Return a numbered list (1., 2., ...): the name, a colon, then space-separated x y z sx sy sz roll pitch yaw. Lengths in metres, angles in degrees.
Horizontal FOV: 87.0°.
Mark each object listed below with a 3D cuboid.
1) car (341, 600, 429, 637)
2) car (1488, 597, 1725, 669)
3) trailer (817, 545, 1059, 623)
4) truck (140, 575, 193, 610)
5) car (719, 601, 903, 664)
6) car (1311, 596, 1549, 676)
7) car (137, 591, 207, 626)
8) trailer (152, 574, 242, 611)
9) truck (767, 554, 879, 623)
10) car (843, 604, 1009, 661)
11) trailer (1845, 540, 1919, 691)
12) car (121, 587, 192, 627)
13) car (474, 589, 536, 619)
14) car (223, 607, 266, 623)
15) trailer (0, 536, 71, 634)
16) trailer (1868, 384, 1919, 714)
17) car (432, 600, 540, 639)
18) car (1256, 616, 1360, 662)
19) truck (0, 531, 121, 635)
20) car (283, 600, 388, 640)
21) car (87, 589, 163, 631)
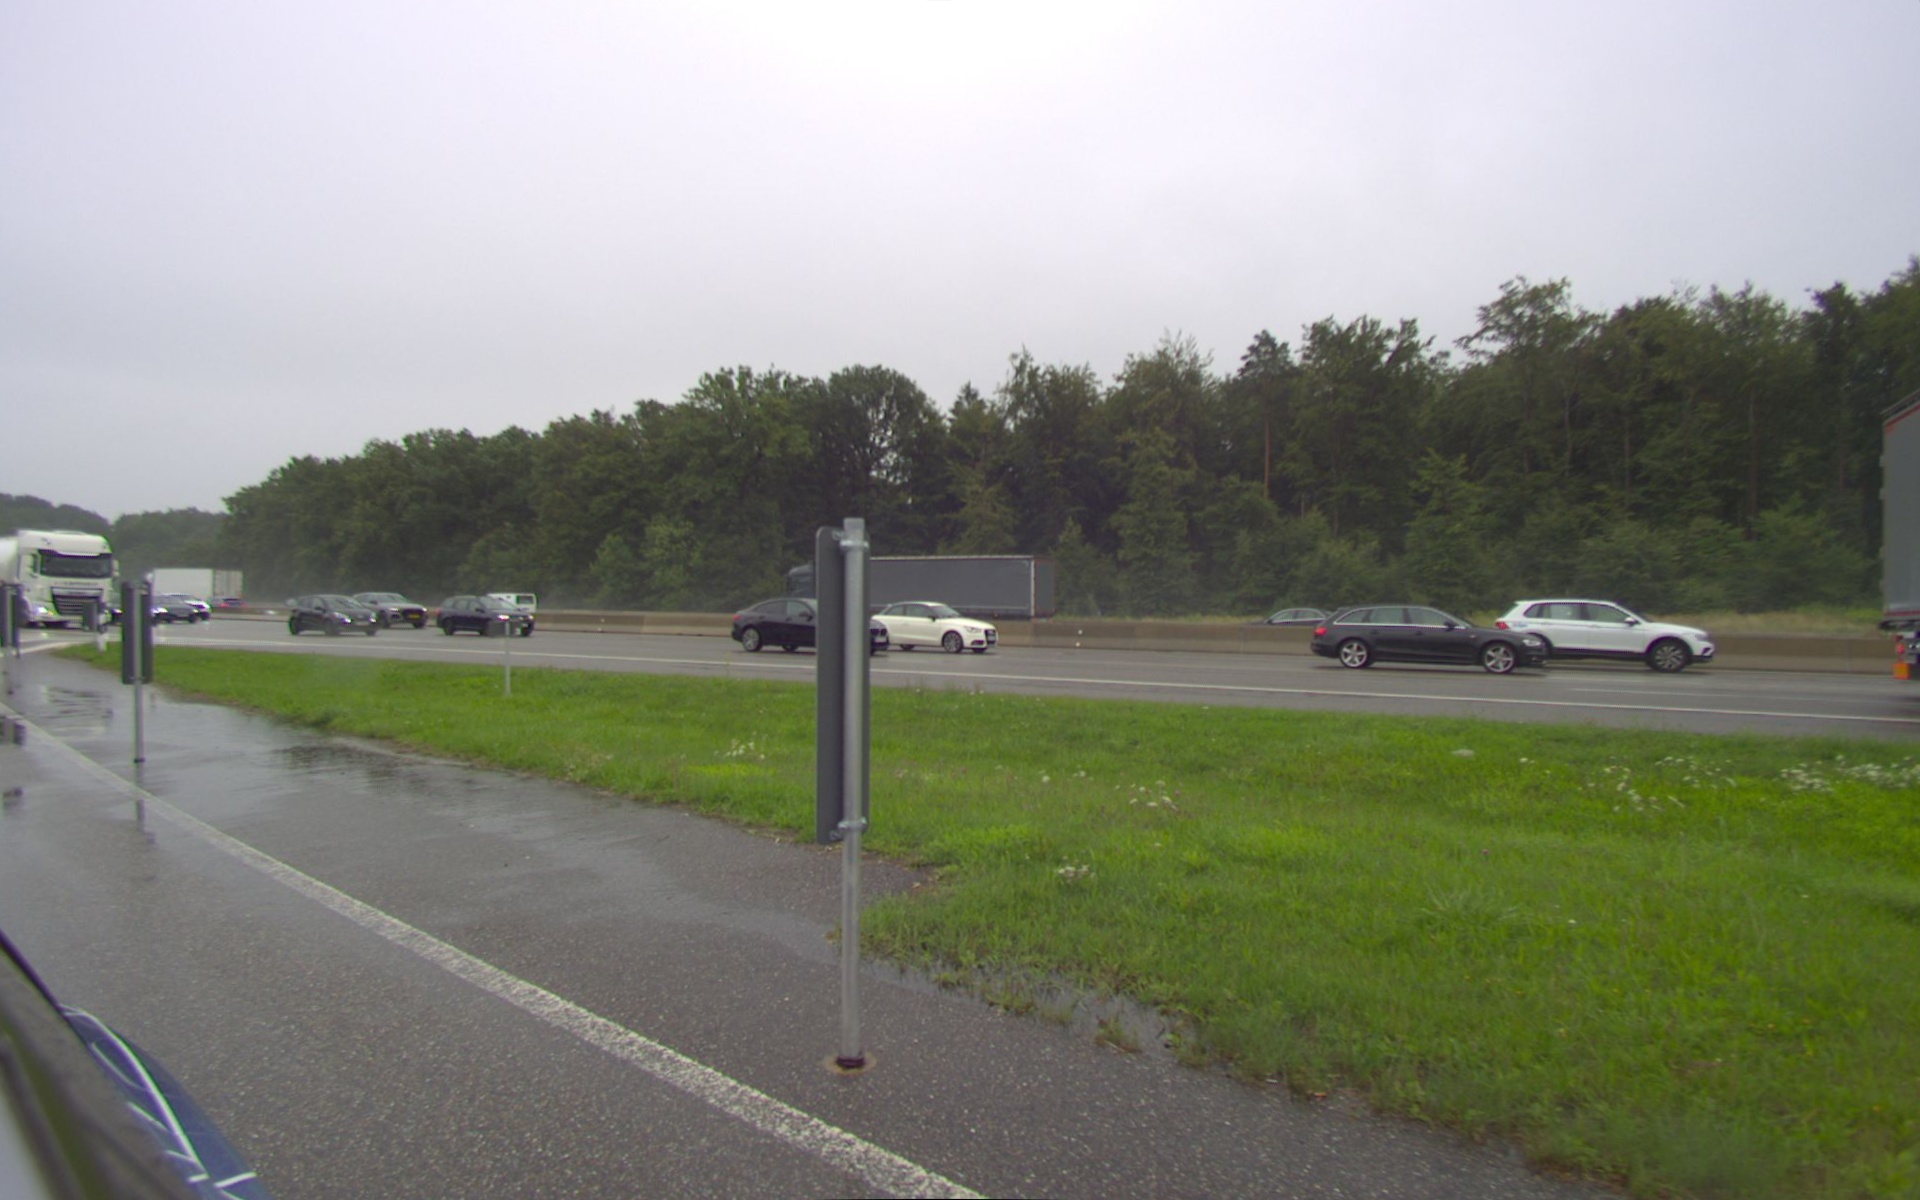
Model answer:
1. car: -28.003 0.889 49.258 4.388 1.681 1.805 0 -2 31
2. car: 15.098 0.773 23.915 4.512 1.552 1.979 -1 -2 31
3. trailer: -1.438 -0.726 54.426 13.352 3.840 3.007 -1 1 30
4. truck: -81.842 -0.752 104.358 5.584 3.478 2.626 0 0 33
5. car: -3.881 0.788 26.176 4.482 1.492 1.868 0 -1 28
6. car: 10.181 0.722 22.006 4.512 1.552 1.979 0 -1 31
7. car: -47.132 0.496 60.520 3.985 2.029 1.979 0 -1 31
8. trailer: -75.925 -0.694 100.545 13.445 3.524 2.628 0 0 33
9. truck: -7.872 -0.608 58.118 5.621 3.775 3.021 -1 1 29
10. car: -1.014 0.895 29.045 4.487 1.492 1.866 0 -1 31
11. trailer: 16.255 0.254 14.389 5.159 2.172 2.114 0 -2 30
12. car: -42.468 0.364 53.477 3.991 2.029 1.841 0 -1 35
13. car: -33.361 0.269 74.178 4.467 2.028 1.979 1 2 31
14. car: -50.663 1.054 71.676 2.877 1.089 1.428 1 1 30
15. trailer: -44.243 -0.604 45.791 11.000 4.057 2.742 0 -2 31
16. trailer: 18.037 -0.584 9.294 14.058 4.013 2.875 0 -2 30
17. car: -18.317 0.751 39.068 4.108 1.425 1.805 -1 -1 31
18. car: 12.598 1.428 36.669 3.266 1.341 1.400 -5 2 30
19. truck: -37.921 -0.633 42.040 6.483 4.039 2.730 0 -1 31
20. car: -23.001 0.729 37.251 3.990 1.383 1.803 0 -1 34
21. car: -39.392 0.451 47.736 3.990 1.918 1.746 0 0 35
